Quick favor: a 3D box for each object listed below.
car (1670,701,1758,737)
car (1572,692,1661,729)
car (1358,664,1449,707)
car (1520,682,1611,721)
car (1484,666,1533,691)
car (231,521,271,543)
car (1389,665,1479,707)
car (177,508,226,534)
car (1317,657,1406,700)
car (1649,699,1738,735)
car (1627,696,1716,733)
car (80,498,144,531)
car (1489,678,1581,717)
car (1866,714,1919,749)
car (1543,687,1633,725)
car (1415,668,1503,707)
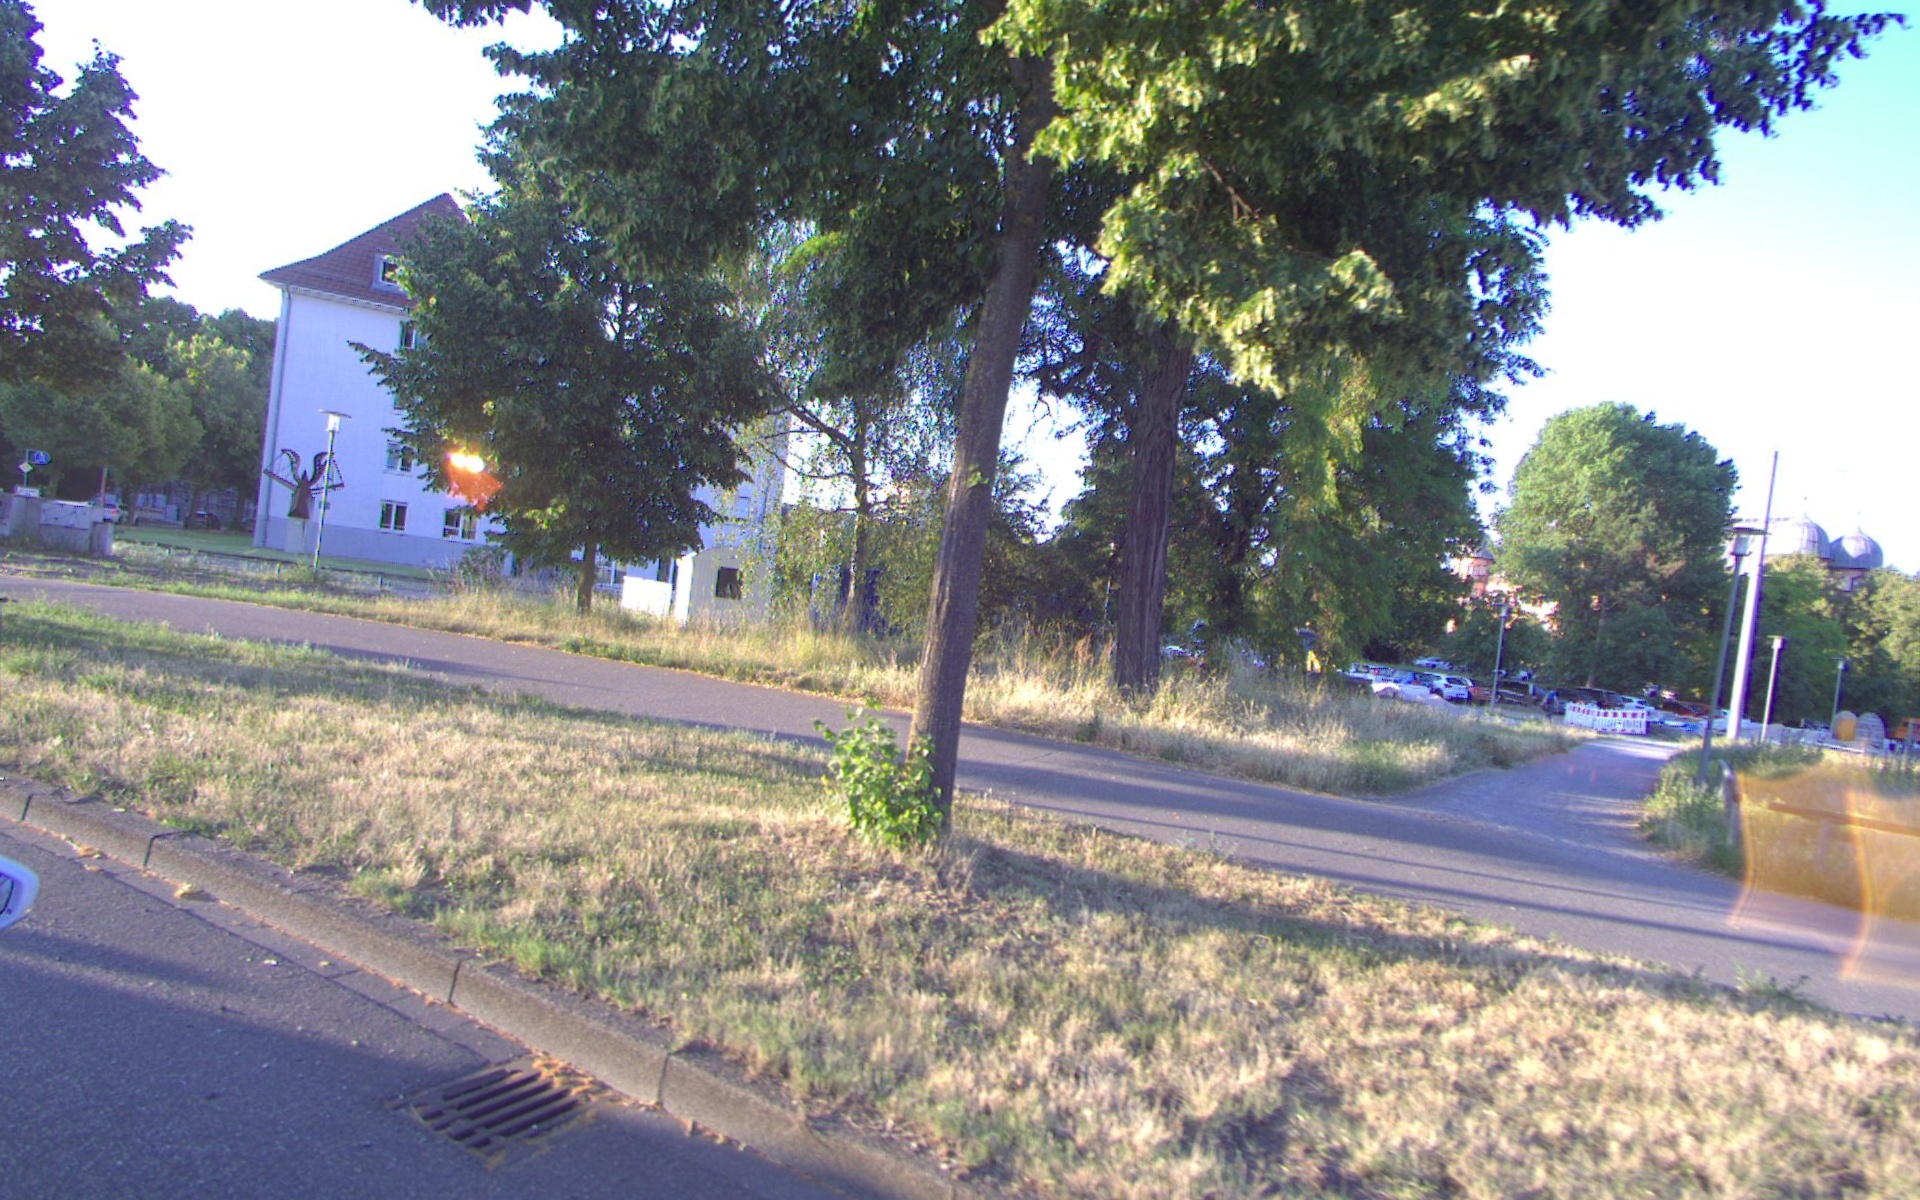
[{"bbox_3d":[47.978,7.577,64.081,1.880,1.572,3.974,7,-1,-26],"label":"car"},{"bbox_3d":[39.447,6.629,60.515,1.880,1.572,3.974,7,-1,-26],"label":"car"},{"bbox_3d":[23.648,4.535,53.769,1.929,1.682,3.974,7,-1,-26],"label":"car"},{"bbox_3d":[35.024,5.862,58.293,1.880,1.572,3.974,7,-1,-26],"label":"car"},{"bbox_3d":[53.920,7.738,98.894,3.950,1.765,1.988,9,0,-24],"label":"car"},{"bbox_3d":[-66.350,-6.352,94.154,1.931,1.621,4.059,8,-1,-21],"label":"car"},{"bbox_3d":[25.683,4.643,54.615,1.929,1.682,3.974,7,-1,-26],"label":"car"},{"bbox_3d":[-61.030,-6.311,81.041,1.931,1.621,4.059,8,-1,-21],"label":"car"},{"bbox_3d":[21.154,4.133,53.207,1.929,1.682,3.974,7,-1,-26],"label":"car"},{"bbox_3d":[45.831,7.282,62.964,1.880,1.572,3.974,7,-1,-26],"label":"car"},{"bbox_3d":[43.664,6.994,61.831,1.880,1.572,3.974,7,-1,-26],"label":"car"},{"bbox_3d":[-55.327,-5.547,65.695,1.932,1.621,4.056,8,-1,-23],"label":"car"},{"bbox_3d":[32.516,5.499,56.998,1.880,1.572,4.073,7,-1,-26],"label":"car"},{"bbox_3d":[70.056,9.796,74.359,1.880,2.121,3.974,7,0,-26],"label":"car"},{"bbox_3d":[36.852,6.214,59.152,1.880,1.572,3.974,7,-1,-26],"label":"car"},{"bbox_3d":[27.749,4.868,56.061,1.880,1.572,3.974,7,-1,-26],"label":"car"}]
